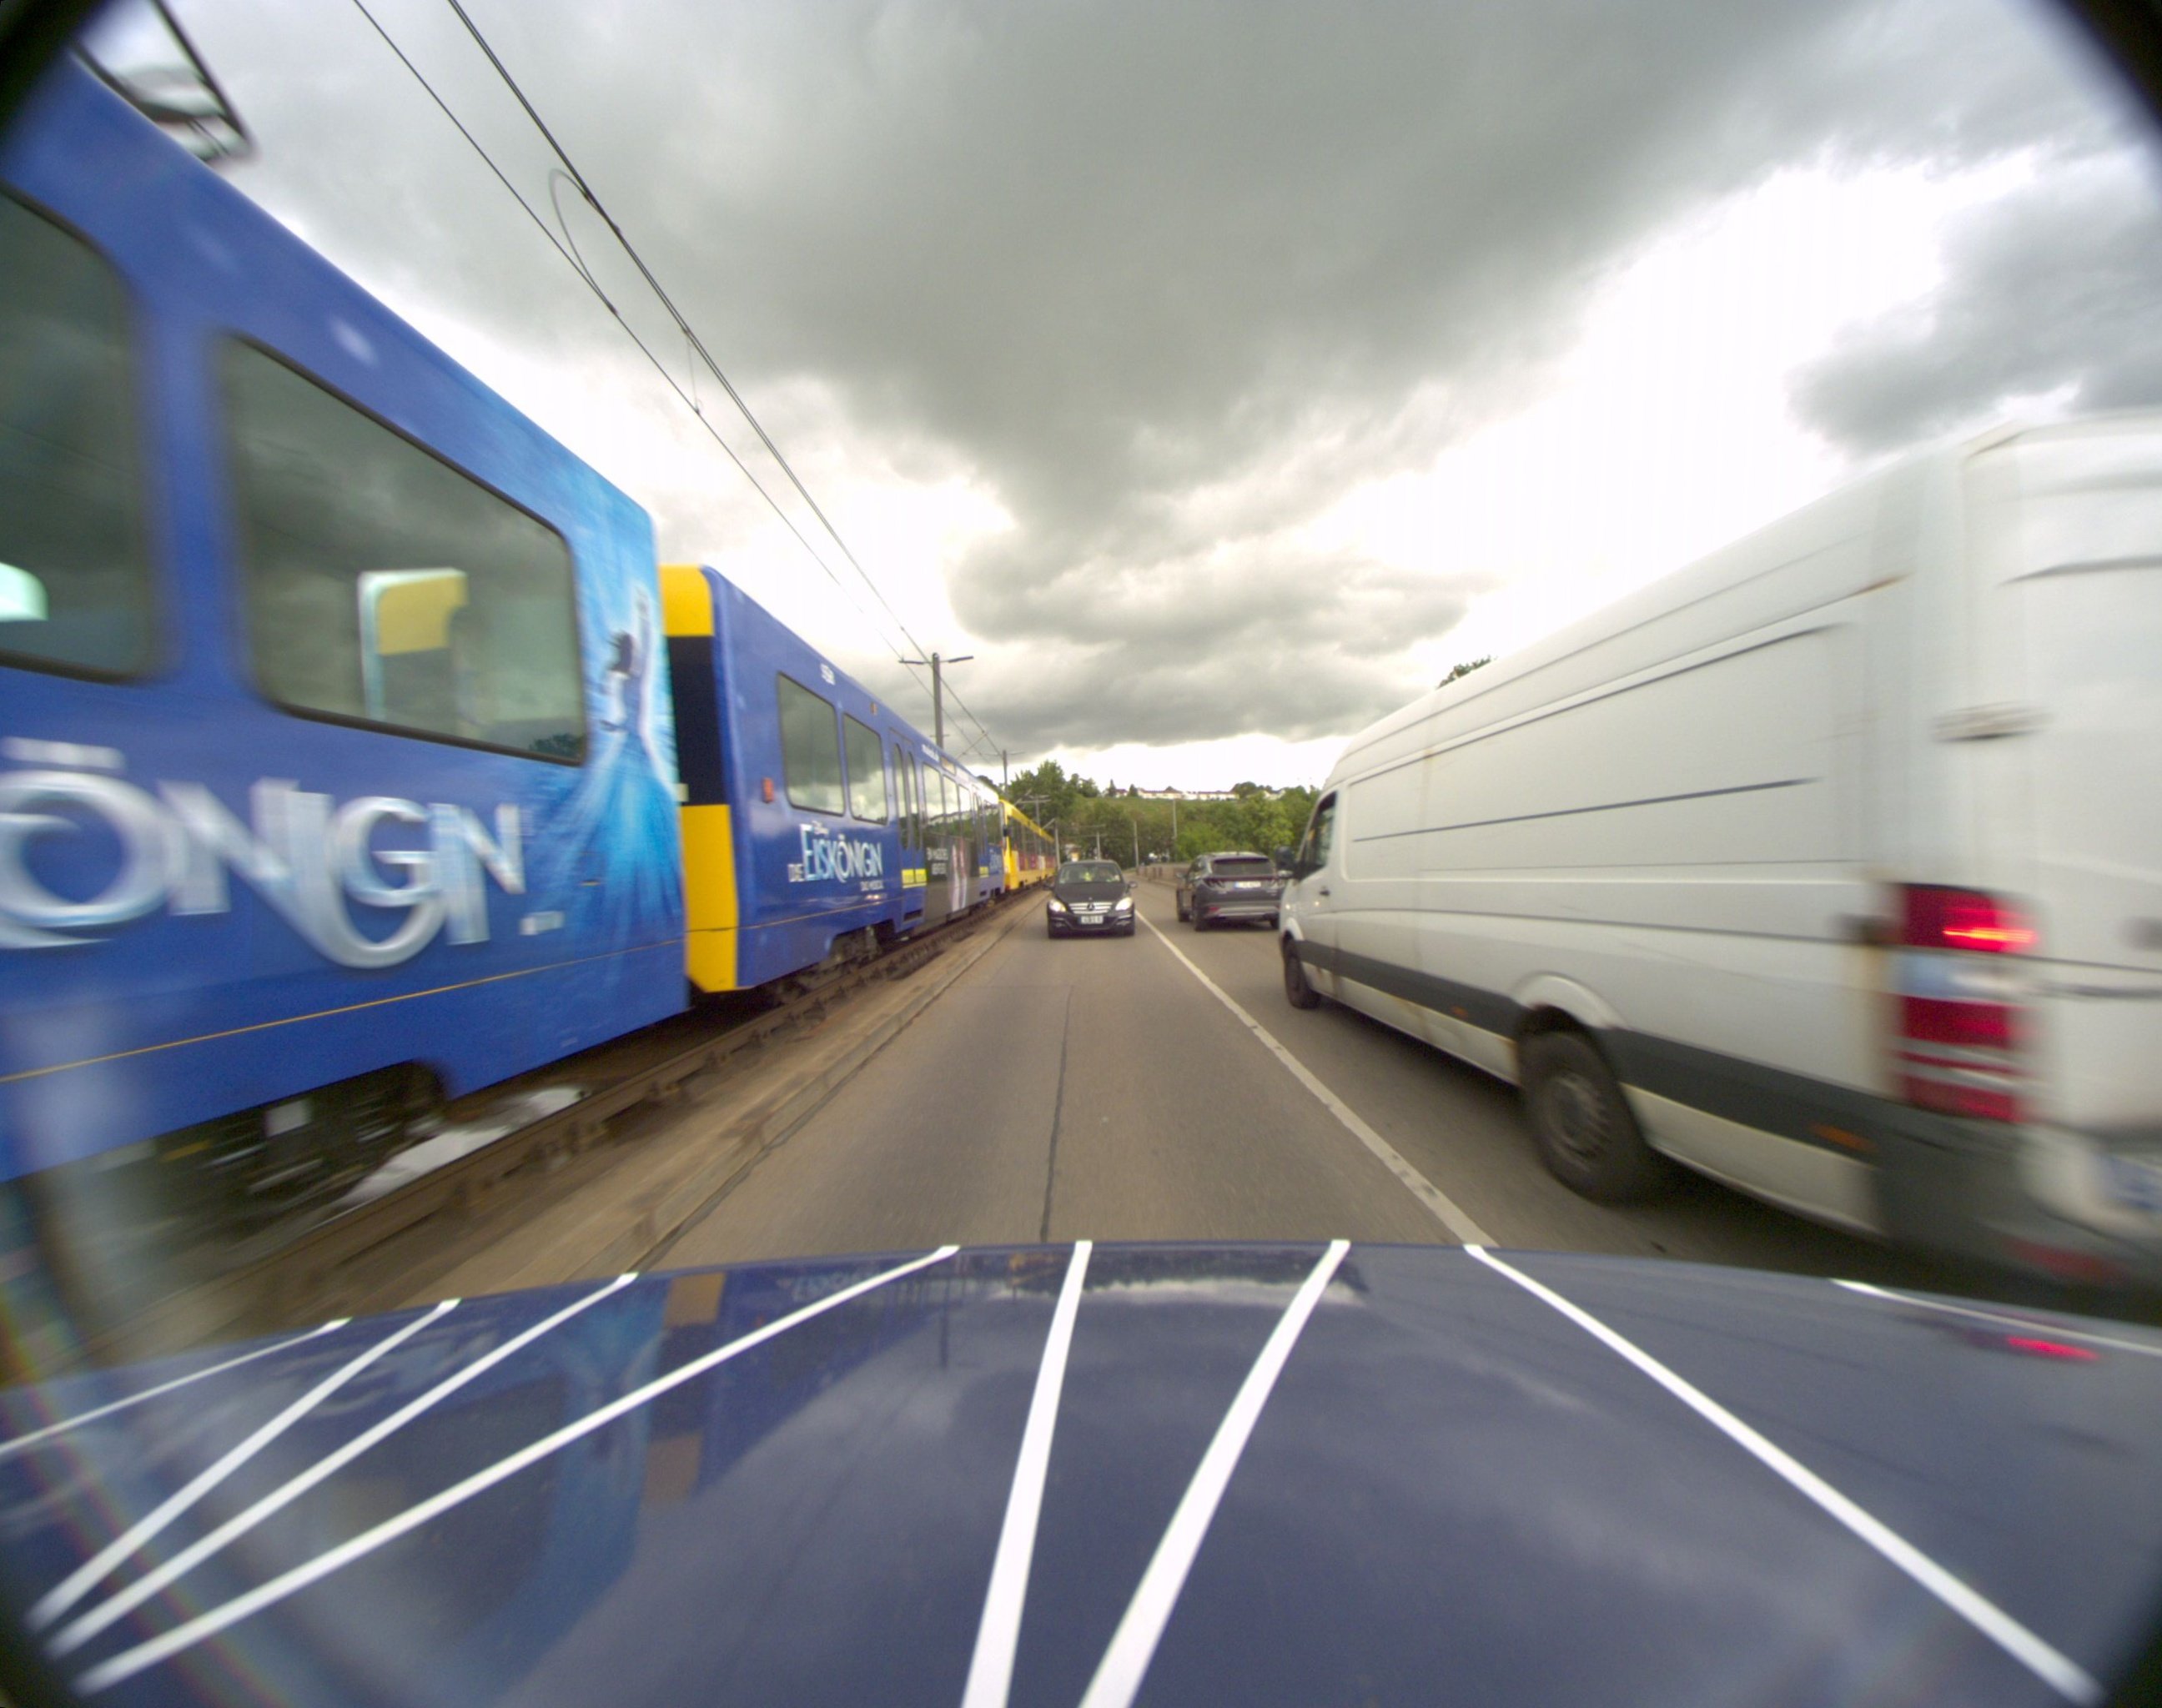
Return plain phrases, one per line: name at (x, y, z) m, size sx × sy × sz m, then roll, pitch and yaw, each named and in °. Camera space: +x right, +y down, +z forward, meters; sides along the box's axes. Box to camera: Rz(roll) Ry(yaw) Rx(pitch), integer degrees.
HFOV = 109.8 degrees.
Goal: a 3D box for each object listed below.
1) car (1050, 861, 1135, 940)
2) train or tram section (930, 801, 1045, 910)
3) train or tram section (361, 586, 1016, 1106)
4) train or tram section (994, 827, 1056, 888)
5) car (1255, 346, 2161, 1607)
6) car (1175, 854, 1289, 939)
car at (0.244, 0.990, 17.987) m, size 1.711 × 1.573 × 4.442 m, roll -2°, pitch 0°, yaw 0°
train or tram section at (-3.556, 0.117, 34.581) m, size 2.837 × 3.559 × 18.667 m, roll -1°, pitch 0°, yaw 0°
train or tram section at (-3.613, -0.063, 15.302) m, size 2.791 × 3.634 × 19.891 m, roll -1°, pitch 0°, yaw 0°
train or tram section at (-3.514, 0.296, 53.297) m, size 2.890 × 3.488 × 18.667 m, roll -1°, pitch 0°, yaw 0°
car at (3.015, 0.264, 5.046) m, size 2.038 × 2.546 × 7.008 m, roll -2°, pitch -1°, yaw 0°
car at (3.227, 0.870, 16.988) m, size 1.720 × 1.635 × 4.000 m, roll -1°, pitch -1°, yaw 0°
